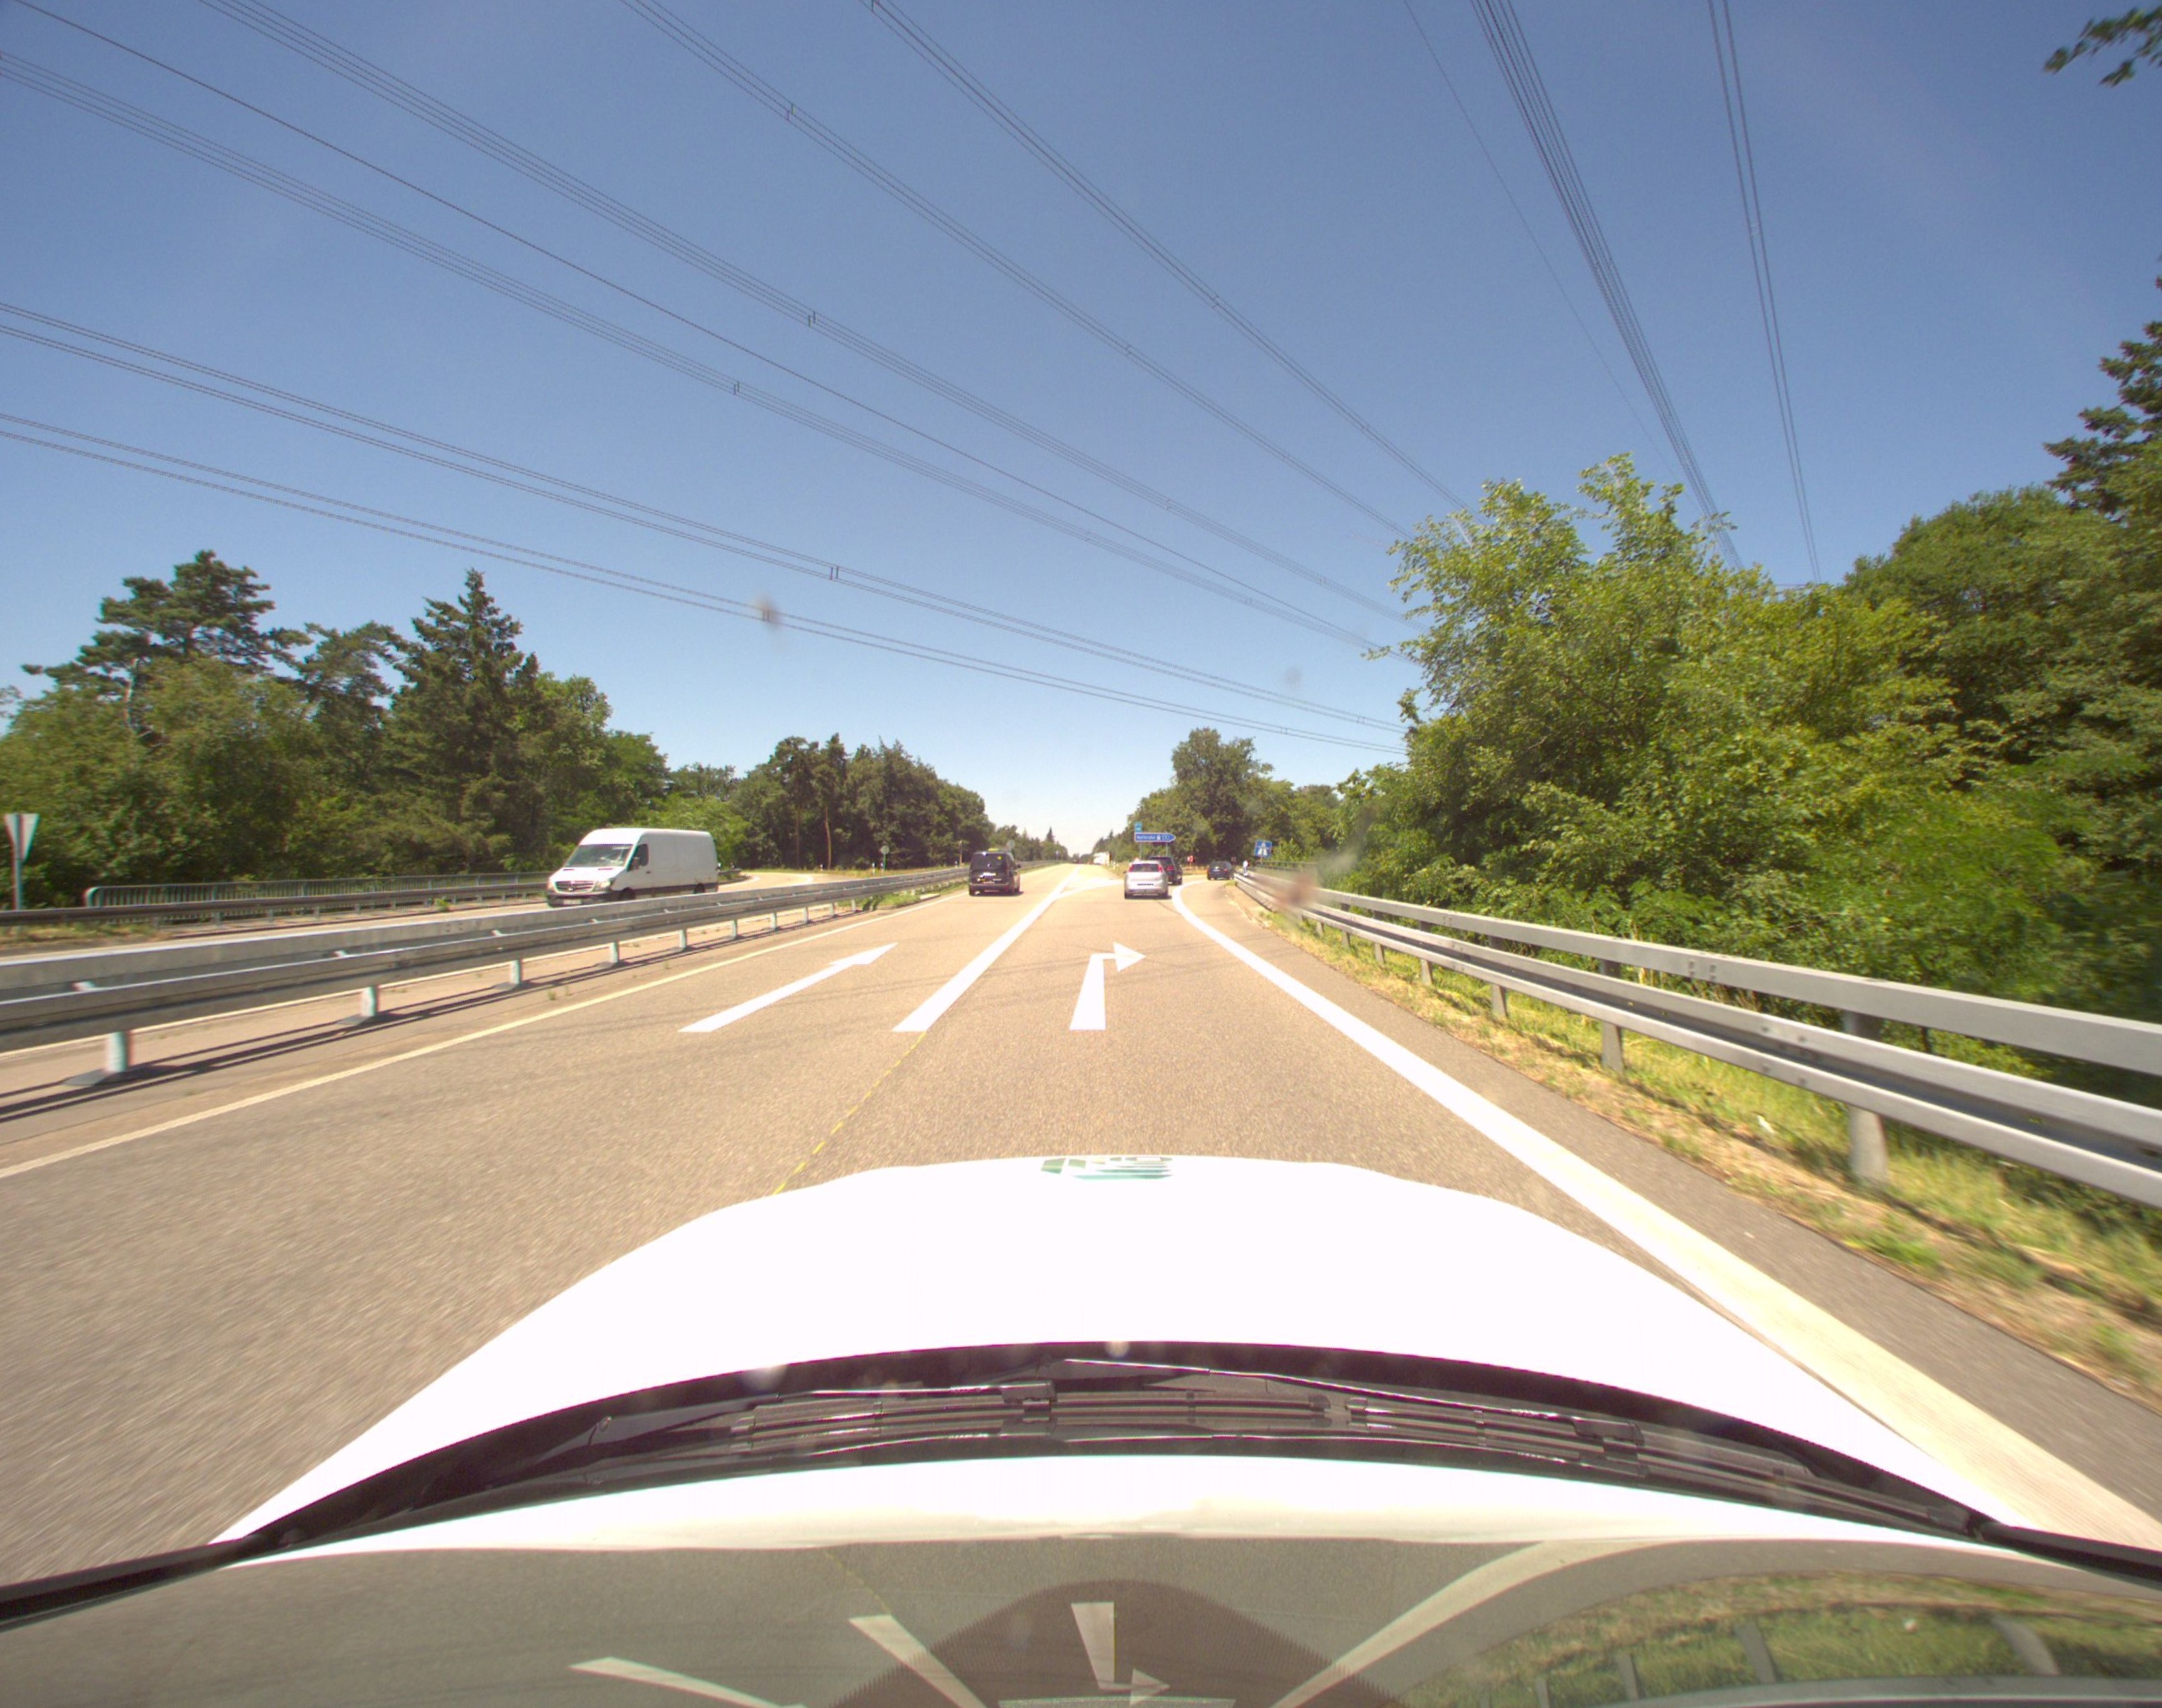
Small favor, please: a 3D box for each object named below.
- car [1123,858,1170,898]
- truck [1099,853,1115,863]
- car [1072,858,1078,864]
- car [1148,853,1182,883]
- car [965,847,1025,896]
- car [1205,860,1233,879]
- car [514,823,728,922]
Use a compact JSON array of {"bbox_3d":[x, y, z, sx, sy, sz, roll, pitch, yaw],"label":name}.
[{"bbox_3d":[2.629,0.913,32.188,1.631,1.468,3.426,2,0,8],"label":"car"},{"bbox_3d":[6.595,1.001,203.708,2.601,2.642,7.691,-1,0,11],"label":"truck"},{"bbox_3d":[-1.631,1.943,230.005,1.706,1.471,3.574,2,0,1],"label":"car"},{"bbox_3d":[5.032,0.833,48.619,1.630,1.654,3.585,2,0,11],"label":"car"},{"bbox_3d":[-3.596,0.709,35.070,1.847,1.887,5.574,-1,0,1],"label":"car"},{"bbox_3d":[10.871,1.202,63.966,1.627,1.342,3.590,2,0,18],"label":"car"},{"bbox_3d":[-14.200,0.514,25.965,2.515,2.618,7.188,-2,0,1],"label":"car"}]
